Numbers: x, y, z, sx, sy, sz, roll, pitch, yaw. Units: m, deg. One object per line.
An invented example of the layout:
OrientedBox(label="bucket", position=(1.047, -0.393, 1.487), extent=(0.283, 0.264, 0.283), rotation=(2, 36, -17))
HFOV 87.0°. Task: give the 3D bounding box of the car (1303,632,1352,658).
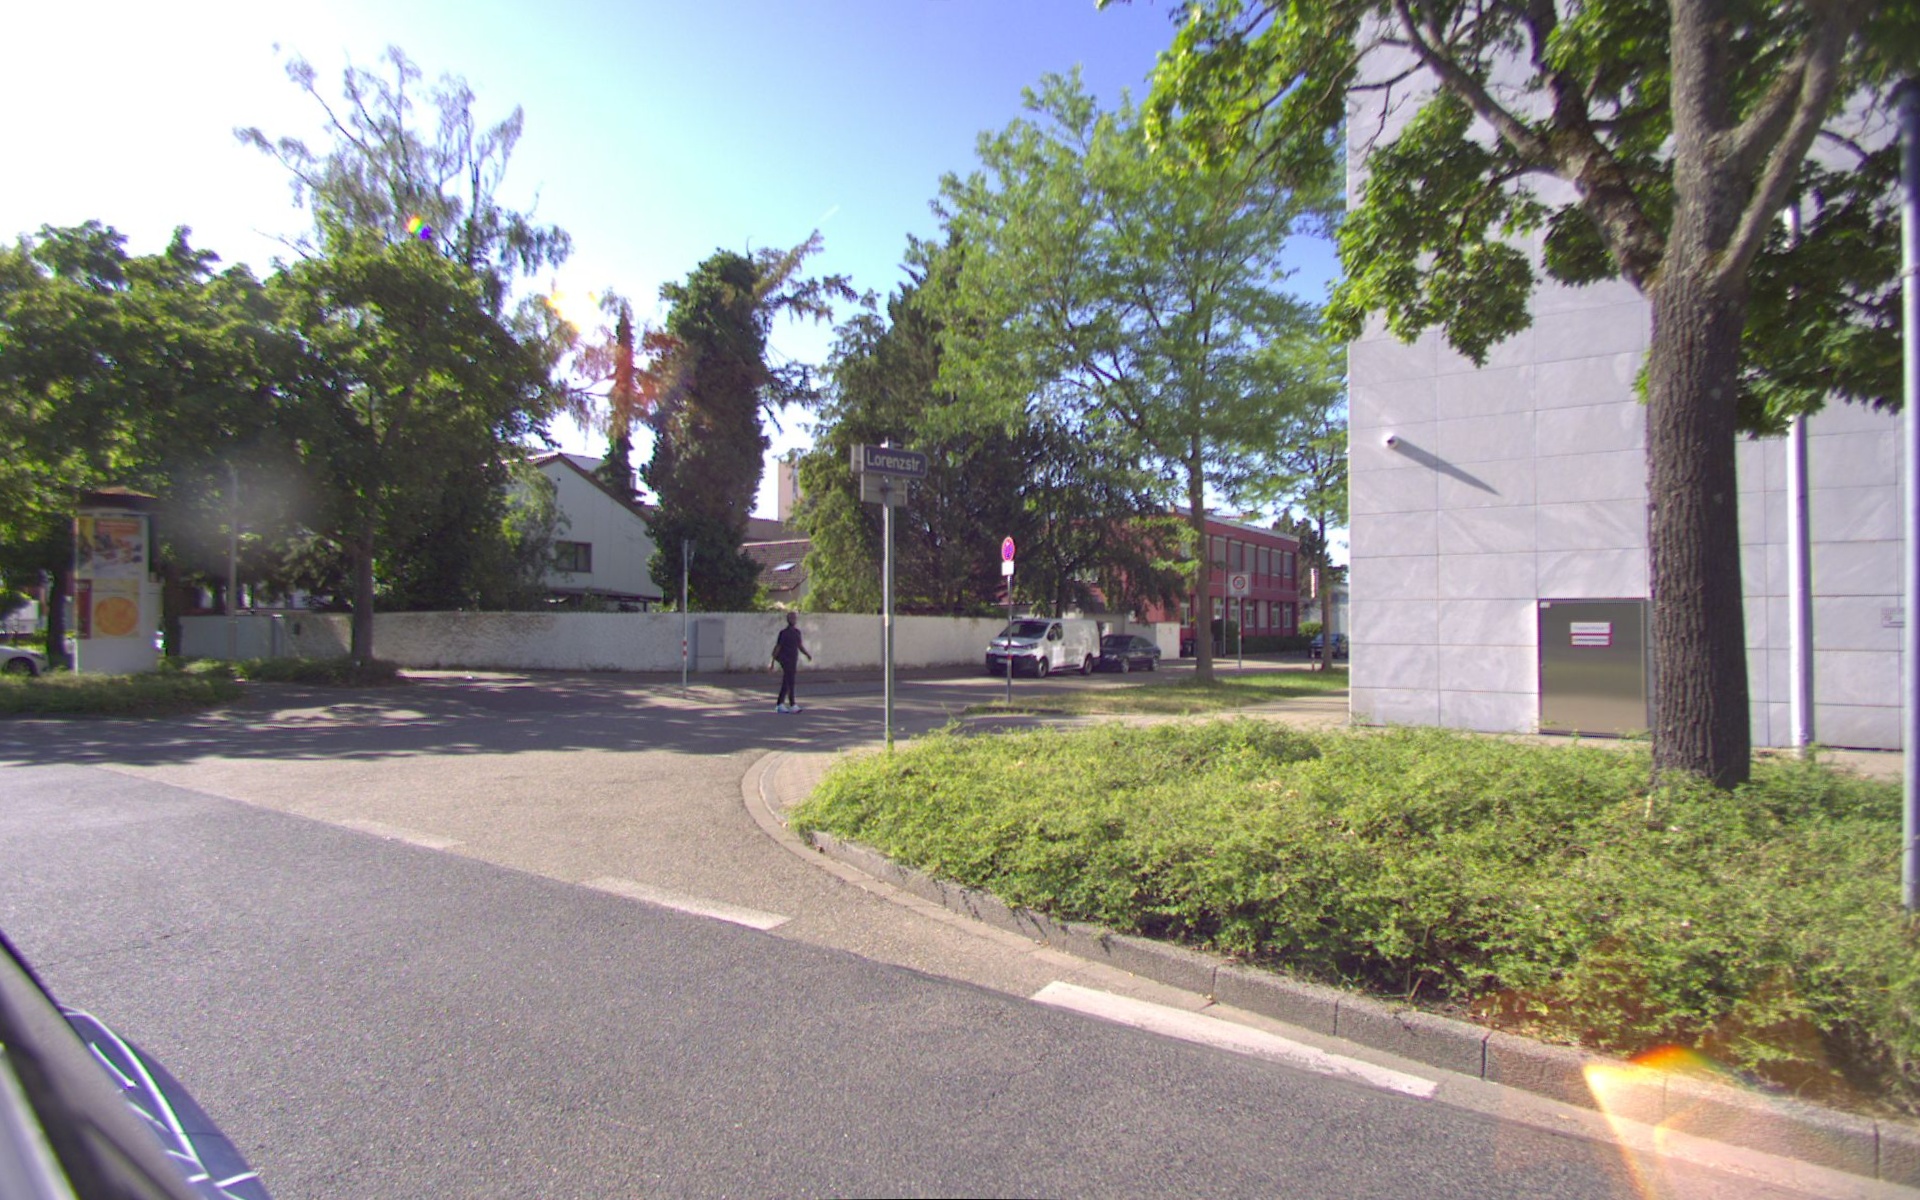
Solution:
OrientedBox(label="car", position=(23.786, 2.891, 65.416), extent=(1.900, 1.642, 4.320), rotation=(-1, -2, 35))

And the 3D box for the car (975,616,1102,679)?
OrientedBox(label="car", position=(2.719, 1.525, 33.697), extent=(1.900, 1.929, 5.087), rotation=(-1, -2, 35))

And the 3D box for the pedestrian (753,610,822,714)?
OrientedBox(label="pedestrian", position=(-2.918, 1.044, 17.123), extent=(0.826, 1.697, 0.808), rotation=(3, -4, -43))

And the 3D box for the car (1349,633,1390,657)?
OrientedBox(label="car", position=(30.231, 3.292, 74.689), extent=(1.876, 1.642, 4.354), rotation=(-1, -2, 35))

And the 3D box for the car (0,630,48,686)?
OrientedBox(label="car", position=(-26.500, 1.558, 25.748), extent=(1.825, 1.416, 4.632), rotation=(-2, 0, 35))

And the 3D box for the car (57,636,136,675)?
OrientedBox(label="car", position=(-37.862, 2.415, 44.357), extent=(4.139, 1.626, 1.812), rotation=(-1, -4, 39))

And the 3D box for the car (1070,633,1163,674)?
OrientedBox(label="car", position=(6.006, 1.979, 38.407), extent=(1.827, 1.434, 4.232), rotation=(-1, -2, 35))

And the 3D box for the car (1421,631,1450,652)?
OrientedBox(label="car", position=(46.809, 4.049, 99.556), extent=(1.900, 2.000, 4.320), rotation=(-1, -2, 35))

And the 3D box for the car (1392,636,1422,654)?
OrientedBox(label="car", position=(38.185, 3.828, 86.407), extent=(1.697, 1.467, 3.843), rotation=(-1, -2, 35))
